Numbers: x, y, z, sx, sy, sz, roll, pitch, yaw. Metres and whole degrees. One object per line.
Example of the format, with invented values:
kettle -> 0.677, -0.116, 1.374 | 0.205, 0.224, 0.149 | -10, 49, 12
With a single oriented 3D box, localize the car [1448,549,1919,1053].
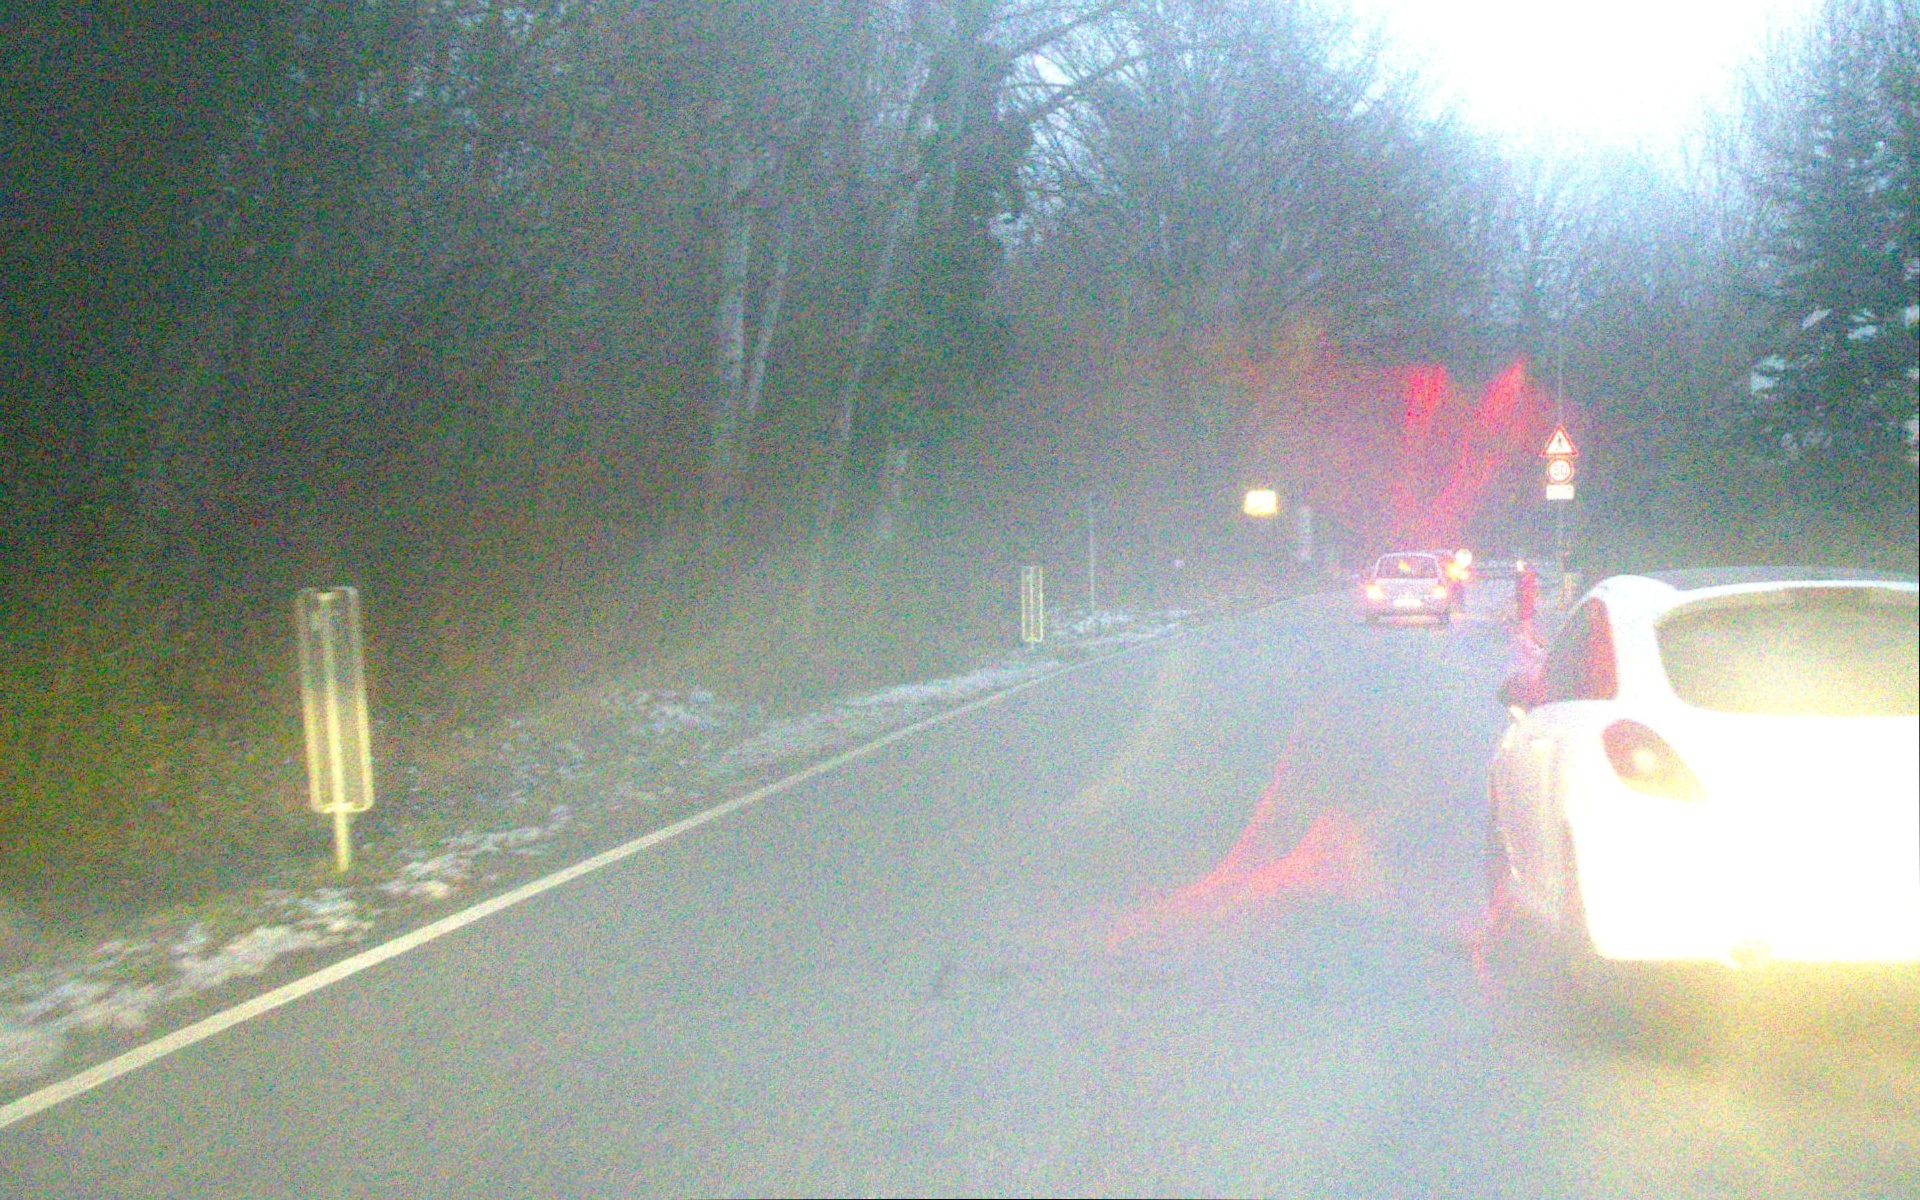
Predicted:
car -> 2.817, 0.600, 12.370 | 1.704, 1.501, 4.024 | 1, 0, 3

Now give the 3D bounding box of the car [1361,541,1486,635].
car -> 9.150, -0.252, 67.654 | 1.934, 1.775, 3.997 | 0, 1, 15
